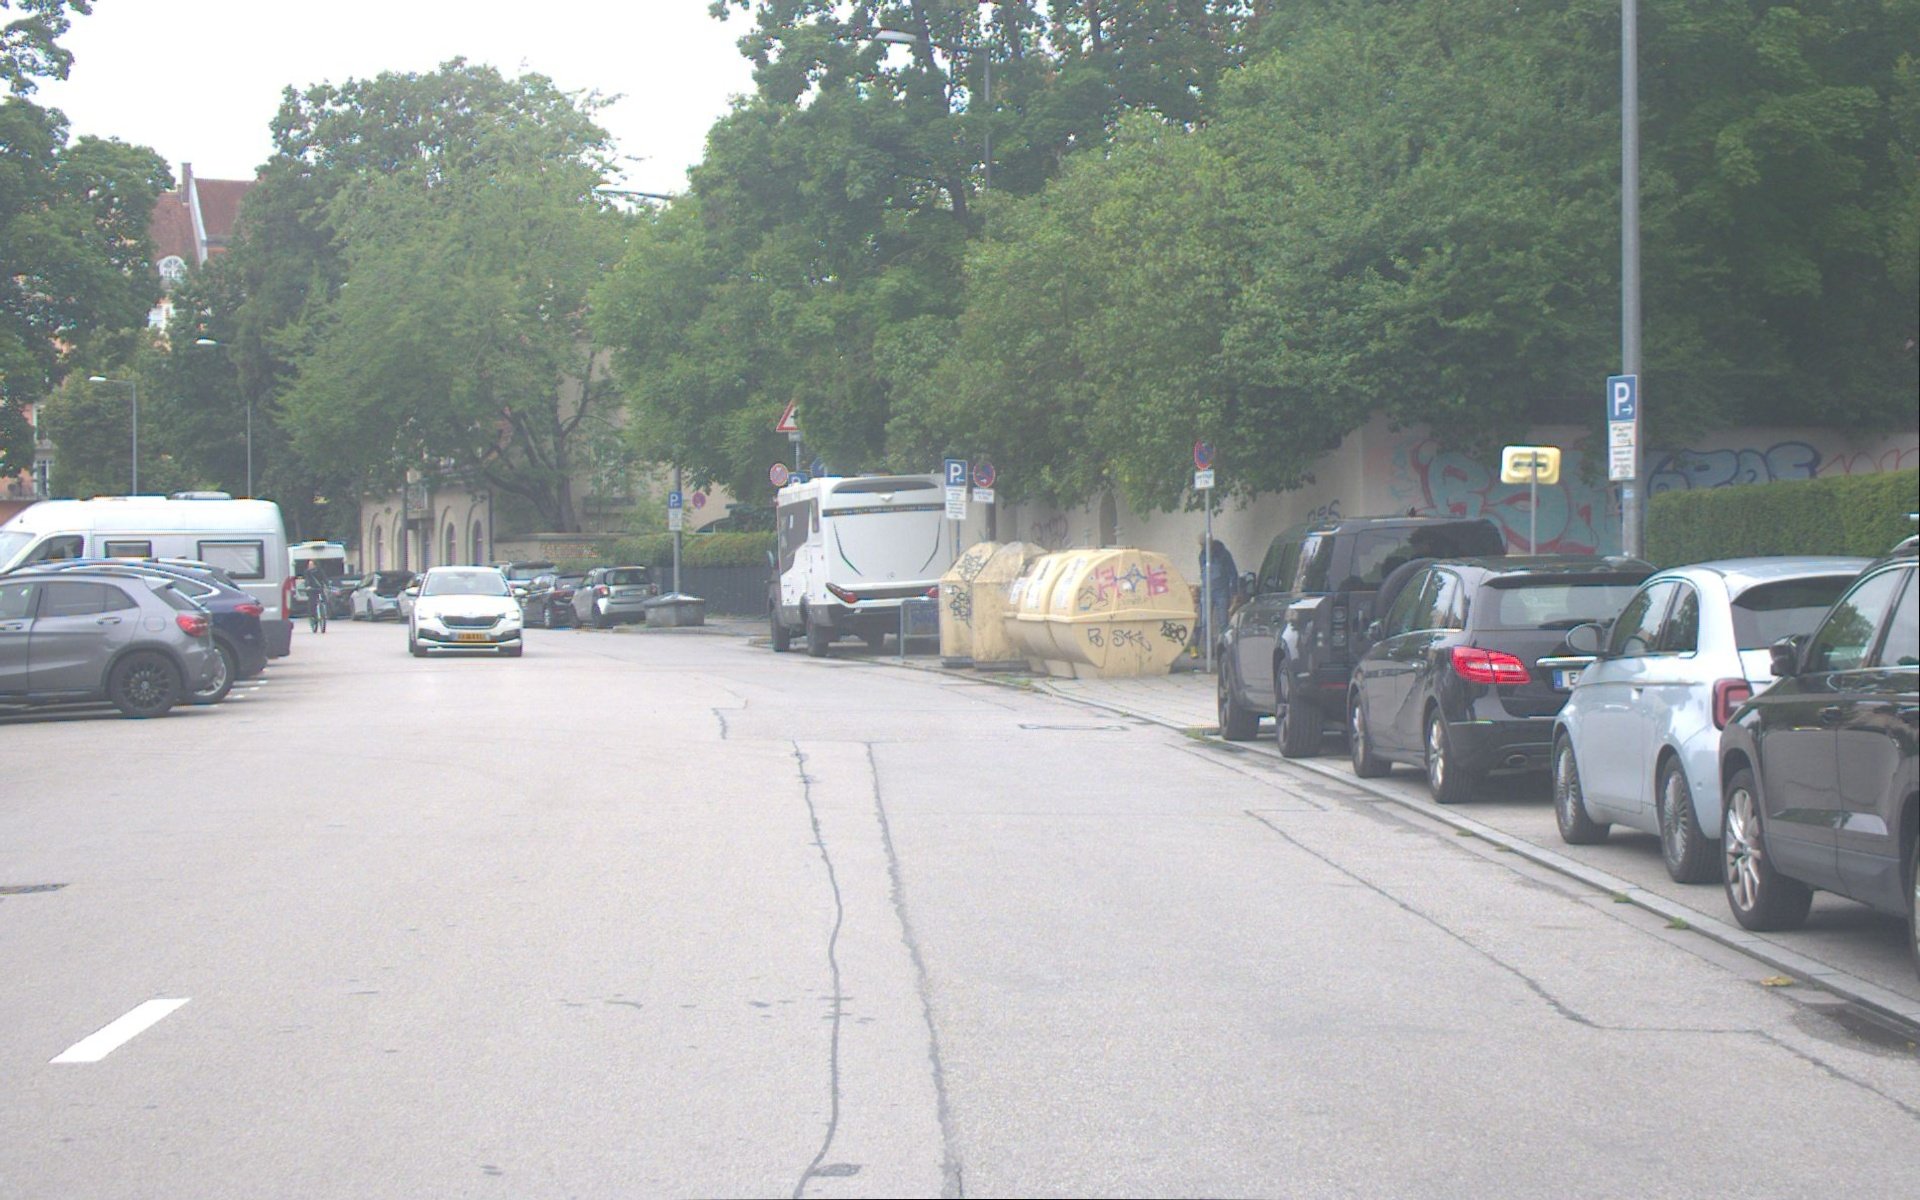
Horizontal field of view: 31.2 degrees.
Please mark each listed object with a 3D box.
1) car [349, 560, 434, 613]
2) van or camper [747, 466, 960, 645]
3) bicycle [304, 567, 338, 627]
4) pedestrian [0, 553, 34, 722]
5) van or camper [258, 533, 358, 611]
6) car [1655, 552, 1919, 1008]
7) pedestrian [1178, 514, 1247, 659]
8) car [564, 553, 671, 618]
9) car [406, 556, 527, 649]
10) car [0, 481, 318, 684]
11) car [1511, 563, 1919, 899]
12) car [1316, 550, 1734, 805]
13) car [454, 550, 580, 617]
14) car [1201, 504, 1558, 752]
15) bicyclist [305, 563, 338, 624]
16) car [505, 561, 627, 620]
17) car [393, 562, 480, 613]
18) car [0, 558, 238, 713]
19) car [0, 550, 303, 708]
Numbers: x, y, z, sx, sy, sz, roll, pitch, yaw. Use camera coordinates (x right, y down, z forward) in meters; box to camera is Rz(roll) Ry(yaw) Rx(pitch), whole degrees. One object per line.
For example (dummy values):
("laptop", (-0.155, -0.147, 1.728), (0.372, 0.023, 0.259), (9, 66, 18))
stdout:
("car", (-17.690, -0.431, 106.827), (1.707, 1.532, 4.241), (-3, 1, -21))
("van or camper", (-1.954, -0.774, 59.625), (2.272, 2.896, 7.279), (-1, 1, -13))
("bicycle", (-14.156, -0.067, 76.181), (0.706, 1.301, 2.119), (-1, 1, -10))
("pedestrian", (-9.552, 0.373, 34.068), (0.589, 1.642, 0.714), (-3, 1, -9))
("van or camper", (-22.521, -0.969, 118.531), (2.192, 2.541, 5.729), (-2, 1, -23))
("car", (4.001, 0.580, 12.822), (1.747, 1.475, 4.598), (0, 1, -2))
("pedestrian", (3.478, -0.185, 47.374), (0.795, 1.978, 0.631), (0, 1, -11))
("car", (-8.499, -0.352, 85.169), (1.738, 1.531, 2.947), (-2, 0, -25))
("car", (-8.094, 0.010, 56.650), (1.772, 1.470, 4.134), (0, 1, -5))
("car", (-11.235, -0.272, 46.067), (4.623, 2.554, 2.234), (-2, 2, -35))
("car", (4.056, 0.570, 17.440), (1.747, 1.475, 3.889), (0, 1, -2))
("car", (3.671, 0.435, 23.154), (1.747, 1.534, 4.570), (0, 1, -4))
("car", (-12.040, -0.455, 93.215), (1.993, 1.705, 4.886), (-2, 1, -24))
("car", (3.350, 0.213, 28.515), (1.987, 1.865, 5.078), (0, 0, -4))
("bicyclist", (-14.156, -0.151, 76.221), (0.696, 1.347, 0.930), (0, 1, -9))
("car", (-10.219, -0.265, 88.942), (1.877, 1.422, 4.223), (-2, 1, -24))
("car", (-15.566, -0.360, 102.139), (1.685, 1.436, 4.001), (-2, 0, -21))
("car", (-9.676, 0.372, 35.250), (4.329, 1.524, 1.934), (-1, 0, -15))
("car", (-9.791, 0.317, 38.013), (4.513, 1.588, 1.965), (-2, 1, -35))
